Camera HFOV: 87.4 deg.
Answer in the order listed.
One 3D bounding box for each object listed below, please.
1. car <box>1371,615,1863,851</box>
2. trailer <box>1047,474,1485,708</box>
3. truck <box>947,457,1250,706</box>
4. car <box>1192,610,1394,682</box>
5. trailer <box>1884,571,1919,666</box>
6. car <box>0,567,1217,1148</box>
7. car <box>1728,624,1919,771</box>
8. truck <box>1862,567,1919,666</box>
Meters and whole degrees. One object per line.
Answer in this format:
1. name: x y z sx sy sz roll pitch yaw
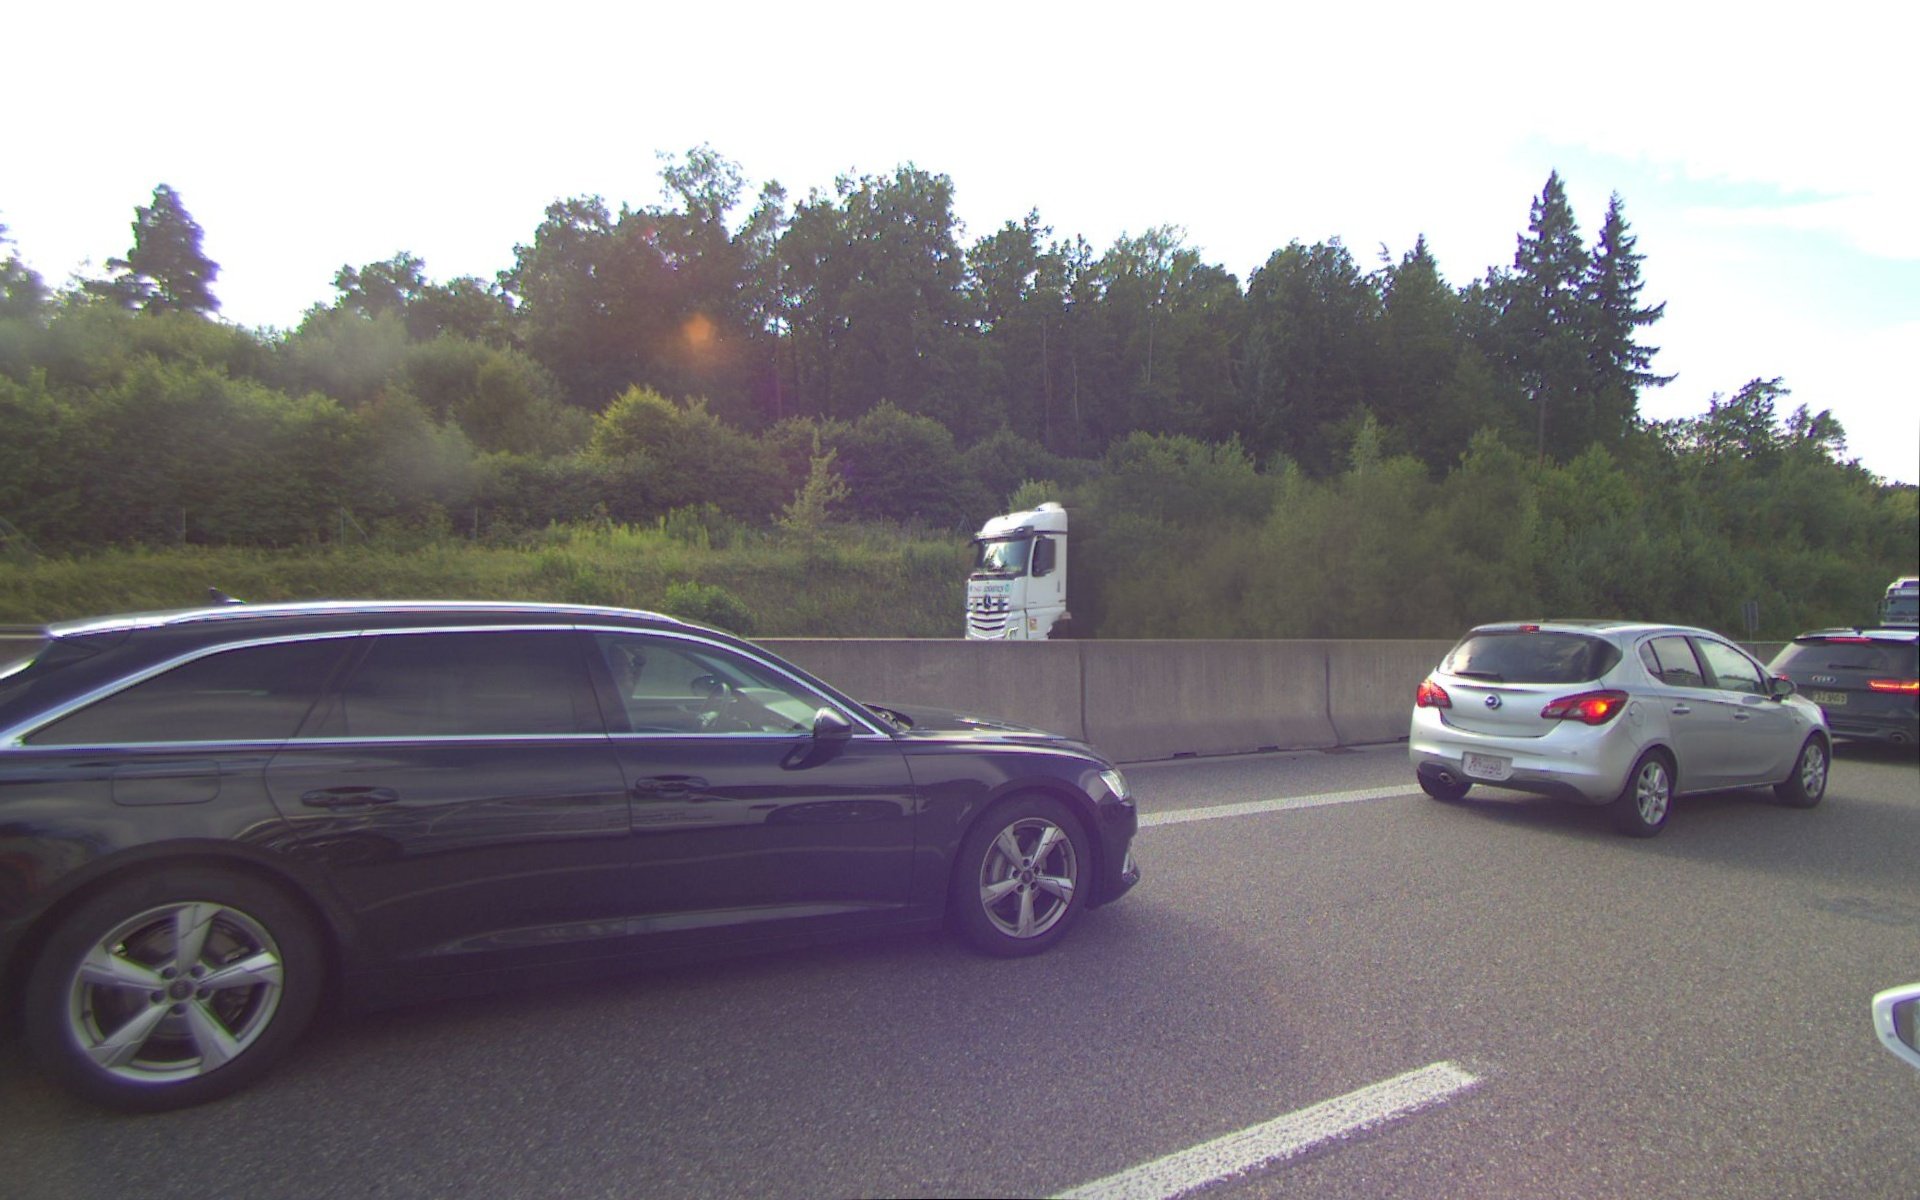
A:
1. car: 5.381 0.889 8.132 3.993 1.485 1.739 1 -1 -30
2. trailer: 8.909 -0.011 27.707 13.674 5.351 3.027 2 0 -31
3. truck: 3.425 -0.307 24.454 6.803 5.322 3.024 2 0 -30
4. car: 7.451 0.988 22.405 4.273 1.447 1.945 1 0 -30
5. trailer: 56.048 1.186 55.747 14.483 4.894 2.912 2 0 -31
6. car: -1.378 0.690 4.244 4.792 1.491 1.874 1 0 -29
7. car: 11.576 1.074 12.242 4.691 1.475 1.834 1 0 -30
8. truck: 49.411 0.877 51.838 4.710 4.923 2.917 2 0 -30
